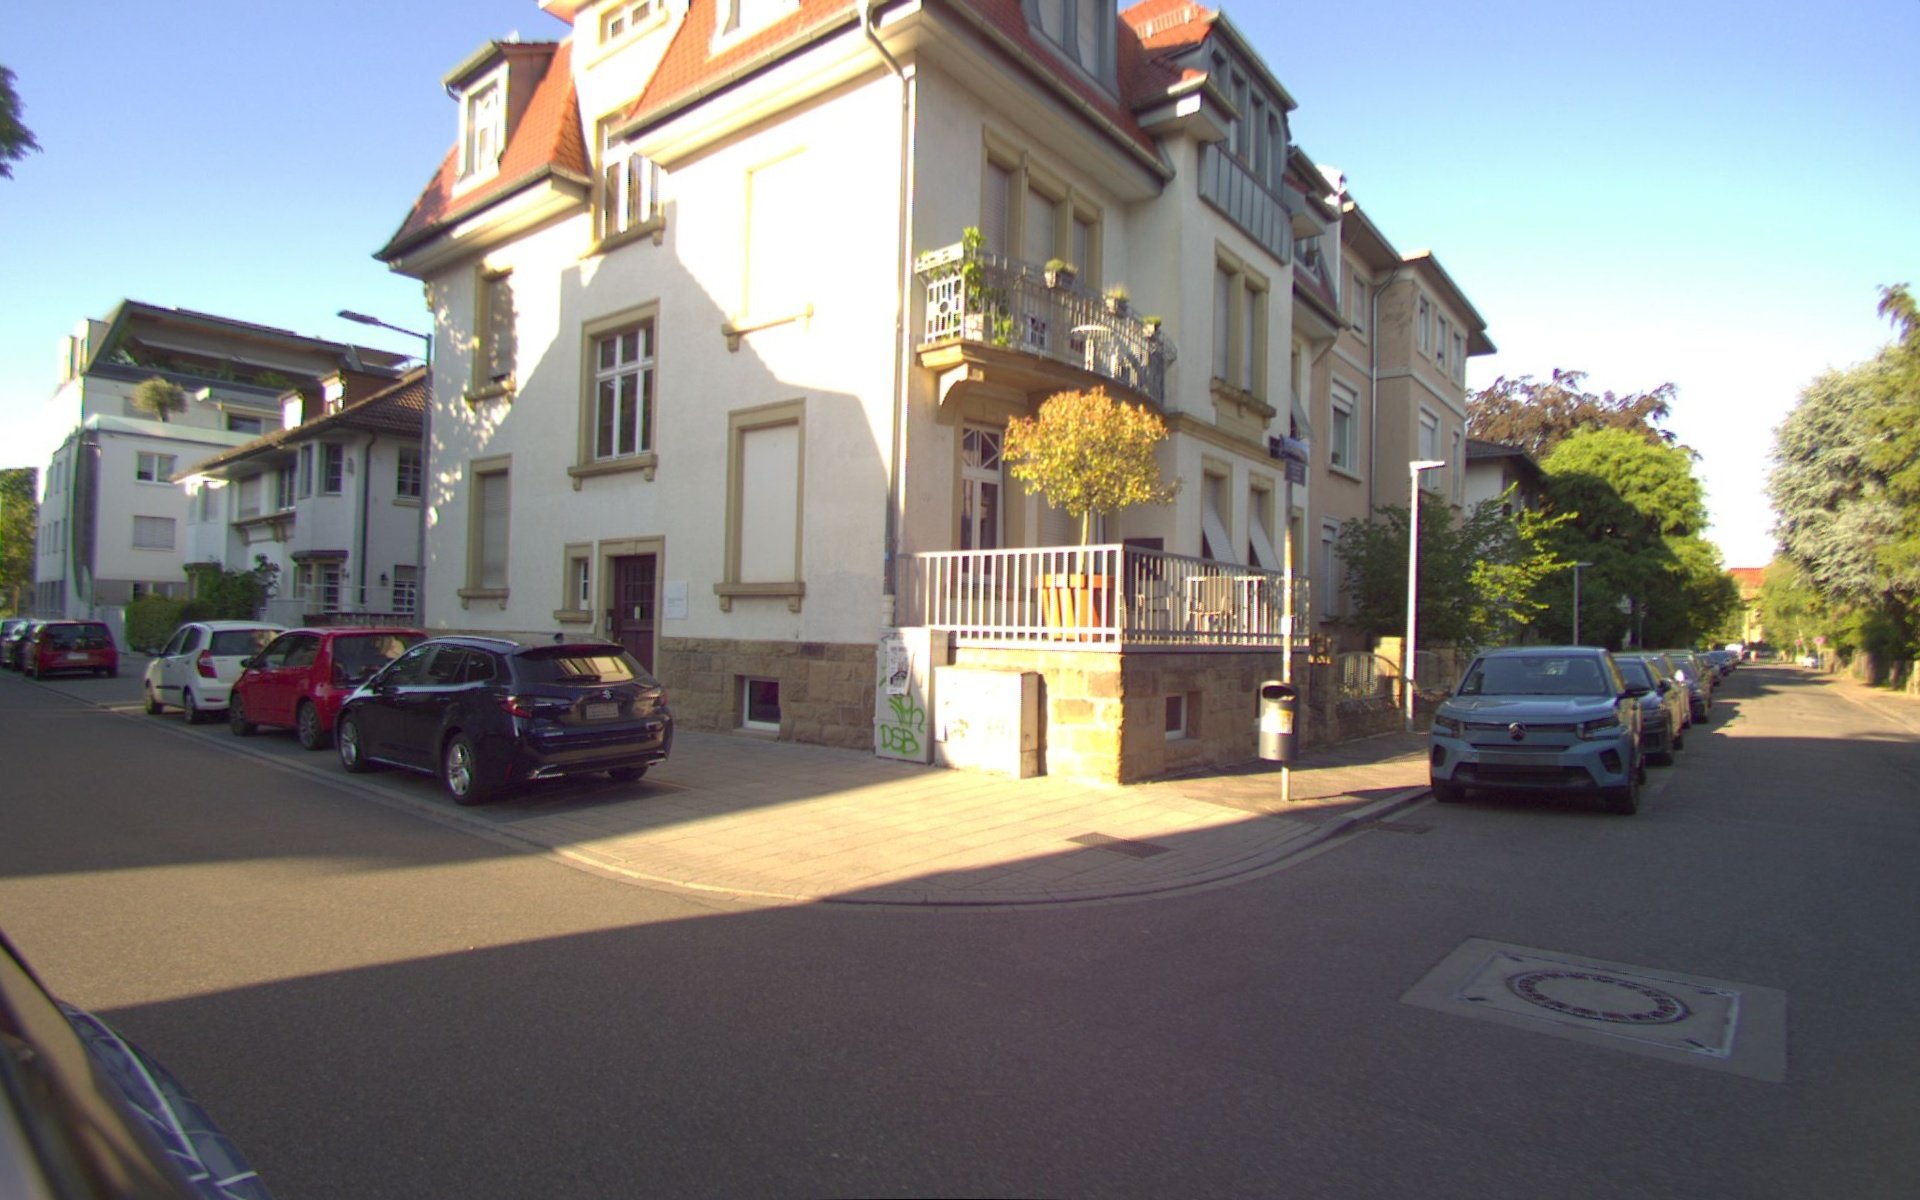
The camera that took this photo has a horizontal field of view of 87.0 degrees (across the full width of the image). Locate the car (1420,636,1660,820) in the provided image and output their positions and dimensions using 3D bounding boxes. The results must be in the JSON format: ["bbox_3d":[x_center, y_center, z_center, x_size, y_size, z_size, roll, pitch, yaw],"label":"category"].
[{"bbox_3d":[6.257,1.217,10.730,1.758,1.571,3.727,-3,-4,36],"label":"car"}]

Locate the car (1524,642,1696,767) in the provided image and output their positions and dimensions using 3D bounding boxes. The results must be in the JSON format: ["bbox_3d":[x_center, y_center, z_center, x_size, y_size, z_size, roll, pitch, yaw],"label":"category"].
[{"bbox_3d":[9.778,1.454,15.070,1.759,1.571,4.433,-3,-4,37],"label":"car"}]

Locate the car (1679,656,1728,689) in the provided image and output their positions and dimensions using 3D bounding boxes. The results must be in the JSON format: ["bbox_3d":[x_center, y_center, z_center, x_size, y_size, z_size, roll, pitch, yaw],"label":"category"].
[{"bbox_3d":[34.060,3.313,46.333,1.679,1.441,3.908,-3,-4,37],"label":"car"}]

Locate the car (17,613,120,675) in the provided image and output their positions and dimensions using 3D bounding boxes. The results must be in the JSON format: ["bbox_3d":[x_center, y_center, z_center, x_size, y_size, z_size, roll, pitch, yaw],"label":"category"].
[{"bbox_3d":[-23.194,1.100,26.293,3.428,1.494,1.632,-1,-2,43],"label":"car"}]

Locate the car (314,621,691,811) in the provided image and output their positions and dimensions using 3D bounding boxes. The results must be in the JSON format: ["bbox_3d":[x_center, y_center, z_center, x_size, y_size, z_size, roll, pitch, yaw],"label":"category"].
[{"bbox_3d":[-4.701,0.954,10.022,4.629,1.465,1.636,-1,-2,41],"label":"car"}]

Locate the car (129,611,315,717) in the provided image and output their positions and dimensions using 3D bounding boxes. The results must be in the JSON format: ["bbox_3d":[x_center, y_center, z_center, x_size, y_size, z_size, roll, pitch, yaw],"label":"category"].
[{"bbox_3d":[-12.095,0.975,16.513,3.703,1.532,1.565,-1,-2,40],"label":"car"}]

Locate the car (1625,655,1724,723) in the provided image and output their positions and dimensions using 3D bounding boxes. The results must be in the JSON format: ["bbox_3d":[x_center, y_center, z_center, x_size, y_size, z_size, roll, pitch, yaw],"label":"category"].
[{"bbox_3d":[16.533,1.990,23.350,1.679,1.441,3.908,-3,-4,37],"label":"car"}]

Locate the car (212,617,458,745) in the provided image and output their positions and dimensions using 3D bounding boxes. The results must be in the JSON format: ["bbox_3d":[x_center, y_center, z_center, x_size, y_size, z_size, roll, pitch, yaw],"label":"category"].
[{"bbox_3d":[-8.417,0.983,13.538,3.700,1.488,1.567,-1,-2,37],"label":"car"}]

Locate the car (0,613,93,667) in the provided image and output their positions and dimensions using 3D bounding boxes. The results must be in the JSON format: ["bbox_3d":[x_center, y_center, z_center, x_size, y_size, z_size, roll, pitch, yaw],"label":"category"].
[{"bbox_3d":[-27.219,1.149,29.973,4.376,1.470,1.720,-1,-2,41],"label":"car"}]

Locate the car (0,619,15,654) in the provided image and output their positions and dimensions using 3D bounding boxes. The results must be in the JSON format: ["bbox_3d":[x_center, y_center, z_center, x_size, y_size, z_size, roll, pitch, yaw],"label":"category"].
[{"bbox_3d":[-40.183,1.501,41.575,3.907,1.405,1.700,-2,-2,42],"label":"car"}]

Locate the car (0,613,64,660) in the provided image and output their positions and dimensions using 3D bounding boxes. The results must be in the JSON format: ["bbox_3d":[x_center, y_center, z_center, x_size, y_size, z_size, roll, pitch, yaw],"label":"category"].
[{"bbox_3d":[-31.736,1.189,33.971,4.559,1.470,1.721,-1,-2,38],"label":"car"}]

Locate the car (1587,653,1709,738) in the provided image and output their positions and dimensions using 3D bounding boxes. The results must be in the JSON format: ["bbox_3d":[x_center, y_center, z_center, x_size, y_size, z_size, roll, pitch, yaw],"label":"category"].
[{"bbox_3d":[13.232,1.753,19.370,1.679,1.441,3.908,-3,-4,37],"label":"car"}]
